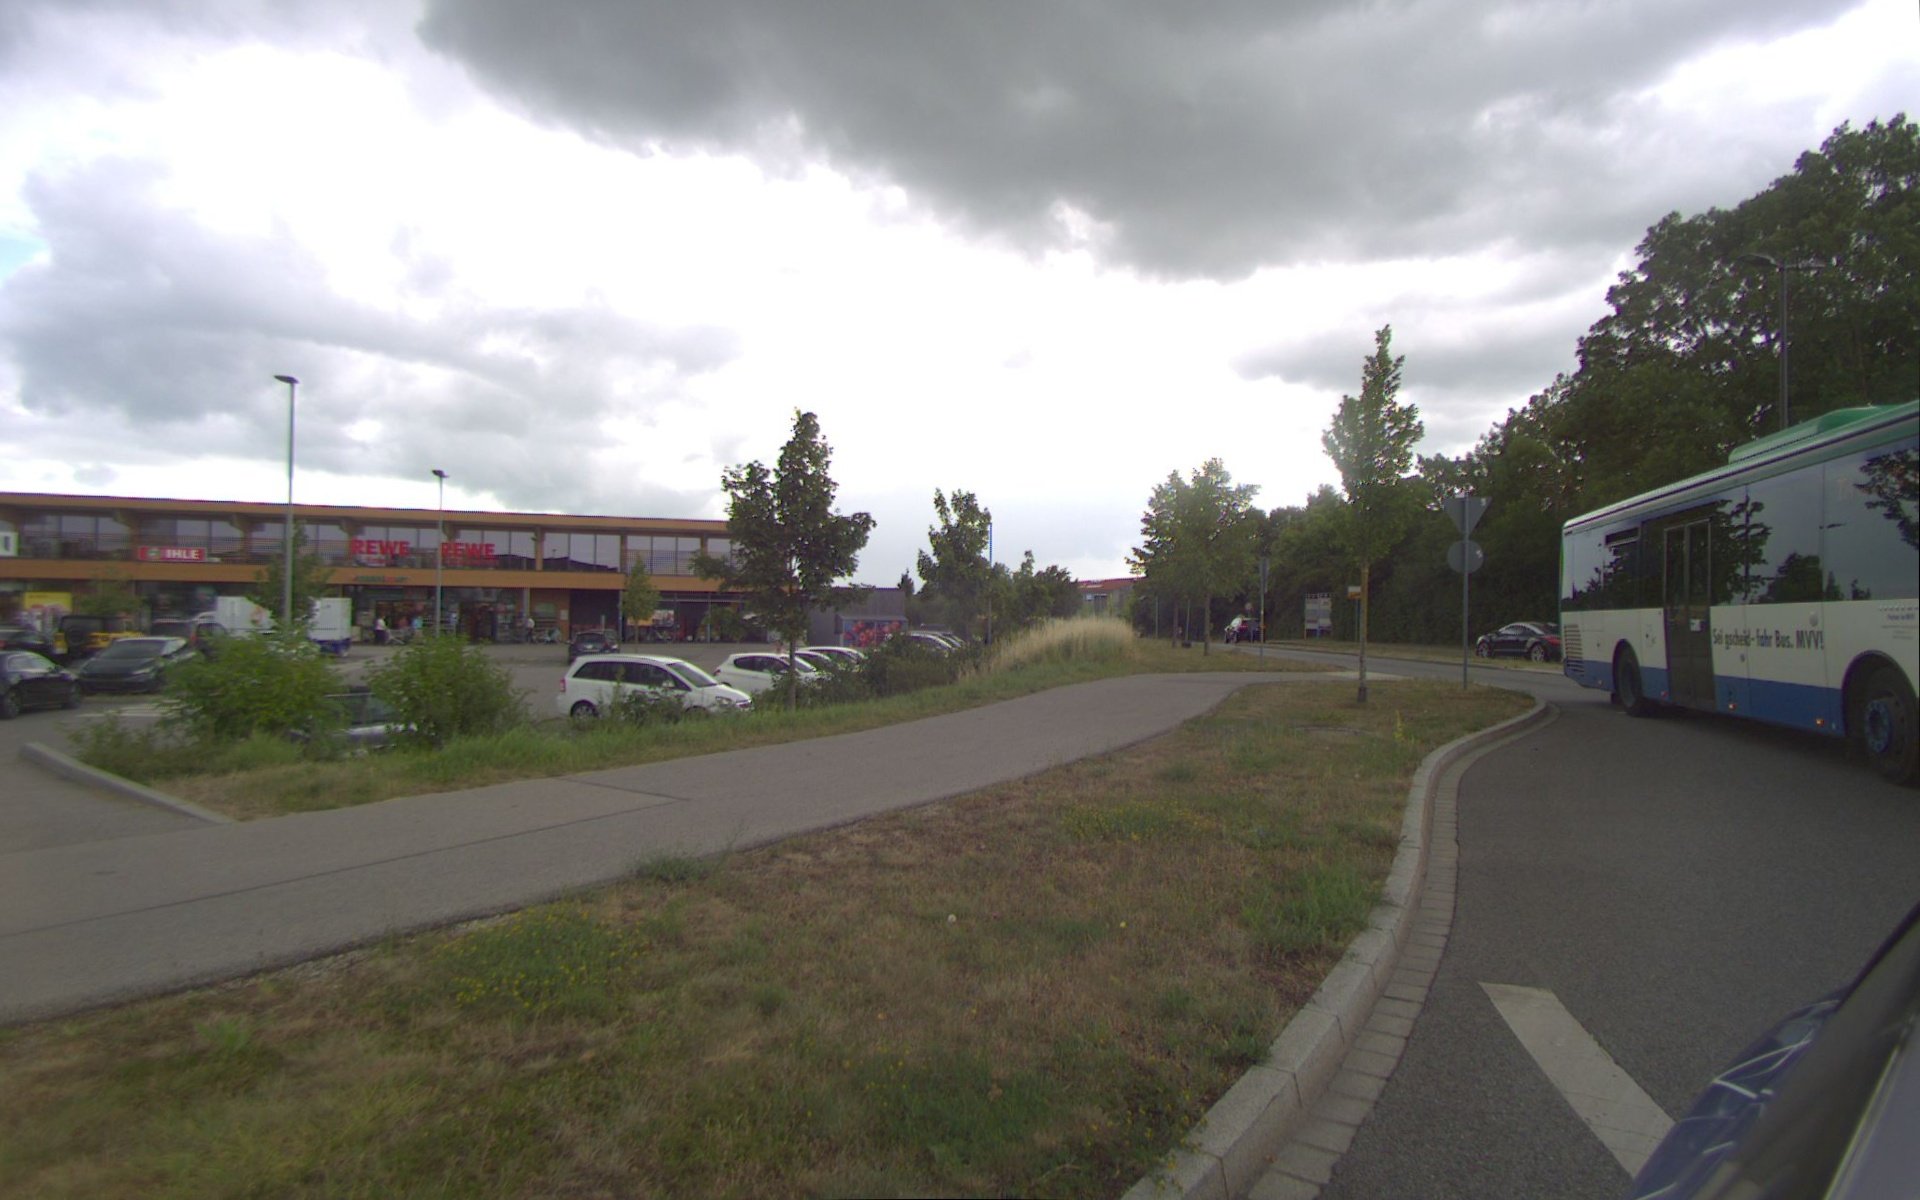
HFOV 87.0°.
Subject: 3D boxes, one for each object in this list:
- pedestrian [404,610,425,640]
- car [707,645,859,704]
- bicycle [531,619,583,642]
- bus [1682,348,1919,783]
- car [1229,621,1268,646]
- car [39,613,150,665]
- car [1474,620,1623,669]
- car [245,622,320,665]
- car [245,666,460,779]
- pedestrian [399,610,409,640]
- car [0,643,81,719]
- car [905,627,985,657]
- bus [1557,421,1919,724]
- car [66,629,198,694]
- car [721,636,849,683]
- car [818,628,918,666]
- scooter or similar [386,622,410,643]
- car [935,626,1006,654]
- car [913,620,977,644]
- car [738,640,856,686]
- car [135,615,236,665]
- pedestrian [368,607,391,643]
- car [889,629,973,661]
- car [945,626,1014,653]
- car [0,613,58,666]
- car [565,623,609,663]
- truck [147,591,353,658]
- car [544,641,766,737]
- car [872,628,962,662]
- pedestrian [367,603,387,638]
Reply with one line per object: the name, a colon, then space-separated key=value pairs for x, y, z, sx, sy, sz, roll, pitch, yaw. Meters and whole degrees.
pedestrian: x=-30.642 y=1.413 z=56.882 sx=0.799 sy=1.678 sz=0.741 roll=0 pitch=-1 yaw=33
car: x=-4.961 y=2.089 z=28.730 sx=3.926 sy=1.527 sz=1.998 roll=-1 pitch=0 yaw=3
bicycle: x=-23.737 y=1.782 z=59.660 sx=2.809 sy=1.326 sz=0.981 roll=0 pitch=-1 yaw=-18
bus: x=8.747 y=-0.311 z=8.263 sx=2.490 sy=3.299 sz=6.515 roll=-3 pitch=0 yaw=17
car: x=18.579 y=2.129 z=65.310 sx=1.613 sy=1.524 sz=3.580 roll=0 pitch=0 yaw=2
car: x=-32.985 y=1.439 z=38.717 sx=1.735 sy=1.878 sz=4.008 roll=0 pitch=-1 yaw=-17
car: x=18.175 y=1.334 z=31.488 sx=1.793 sy=1.324 sz=4.121 roll=2 pitch=0 yaw=-9
car: x=-26.956 y=1.693 z=40.377 sx=1.695 sy=1.549 sz=4.007 roll=1 pitch=0 yaw=-22
car: x=-9.465 y=1.800 z=15.686 sx=3.709 sy=1.390 sz=1.560 roll=-1 pitch=-1 yaw=36
pedestrian: x=-37.356 y=1.657 z=68.011 sx=0.567 sy=1.974 sz=0.526 roll=1 pitch=-1 yaw=-26
car: x=-21.161 y=1.731 z=22.022 sx=1.798 sy=1.416 sz=4.008 roll=1 pitch=0 yaw=-21
car: x=-0.769 y=2.176 z=52.789 sx=3.833 sy=1.483 sz=1.689 roll=0 pitch=-1 yaw=15
bus: x=10.465 y=-0.317 z=13.951 sx=2.491 sy=3.299 sz=5.431 roll=-3 pitch=0 yaw=17
car: x=-22.814 y=1.636 z=28.065 sx=1.695 sy=1.573 sz=4.007 roll=1 pitch=-1 yaw=-22
car: x=-5.305 y=1.802 z=30.920 sx=3.607 sy=1.311 sz=1.716 roll=0 pitch=0 yaw=1
car: x=-3.842 y=1.939 z=42.372 sx=3.833 sy=1.483 sz=1.689 roll=0 pitch=-1 yaw=15
scooter or similar: x=-30.844 y=1.768 z=55.564 sx=0.981 sy=1.141 sz=0.795 roll=0 pitch=-3 yaw=-18
car: x=0.630 y=2.278 z=58.533 sx=3.833 sy=1.483 sz=1.689 roll=0 pitch=-1 yaw=15
car: x=-0.935 y=2.005 z=63.434 sx=3.924 sy=1.462 sz=1.884 roll=0 pitch=-1 yaw=0
car: x=-5.452 y=2.090 z=33.999 sx=3.619 sy=1.311 sz=1.411 roll=2 pitch=0 yaw=12
car: x=-29.684 y=1.476 z=38.930 sx=1.813 sy=1.747 sz=4.128 roll=-1 pitch=-1 yaw=-18
pedestrian: x=-31.742 y=1.360 z=55.302 sx=0.909 sy=1.923 sz=0.795 roll=1 pitch=-3 yaw=-18
car: x=-1.409 y=2.195 z=49.802 sx=3.833 sy=1.483 sz=1.689 roll=0 pitch=-1 yaw=15
car: x=1.154 y=2.315 z=60.222 sx=3.833 sy=1.483 sz=1.689 roll=0 pitch=-1 yaw=15
car: x=-35.753 y=1.426 z=37.803 sx=1.735 sy=1.878 sz=4.007 roll=1 pitch=-1 yaw=-21
car: x=-16.042 y=1.826 z=43.623 sx=1.679 sy=1.588 sz=3.677 roll=1 pitch=-1 yaw=-19
truck: x=-31.990 y=1.088 z=46.003 sx=7.105 sy=2.843 sz=2.982 roll=1 pitch=-1 yaw=-22
car: x=-6.734 y=1.923 z=22.517 sx=4.373 sy=1.694 sz=1.795 roll=3 pitch=1 yaw=10
car: x=-1.986 y=2.056 z=46.746 sx=3.833 sy=1.483 sz=1.689 roll=0 pitch=-1 yaw=15
pedestrian: x=-34.524 y=1.204 z=59.907 sx=0.913 sy=2.039 sz=0.807 roll=1 pitch=-1 yaw=-25
